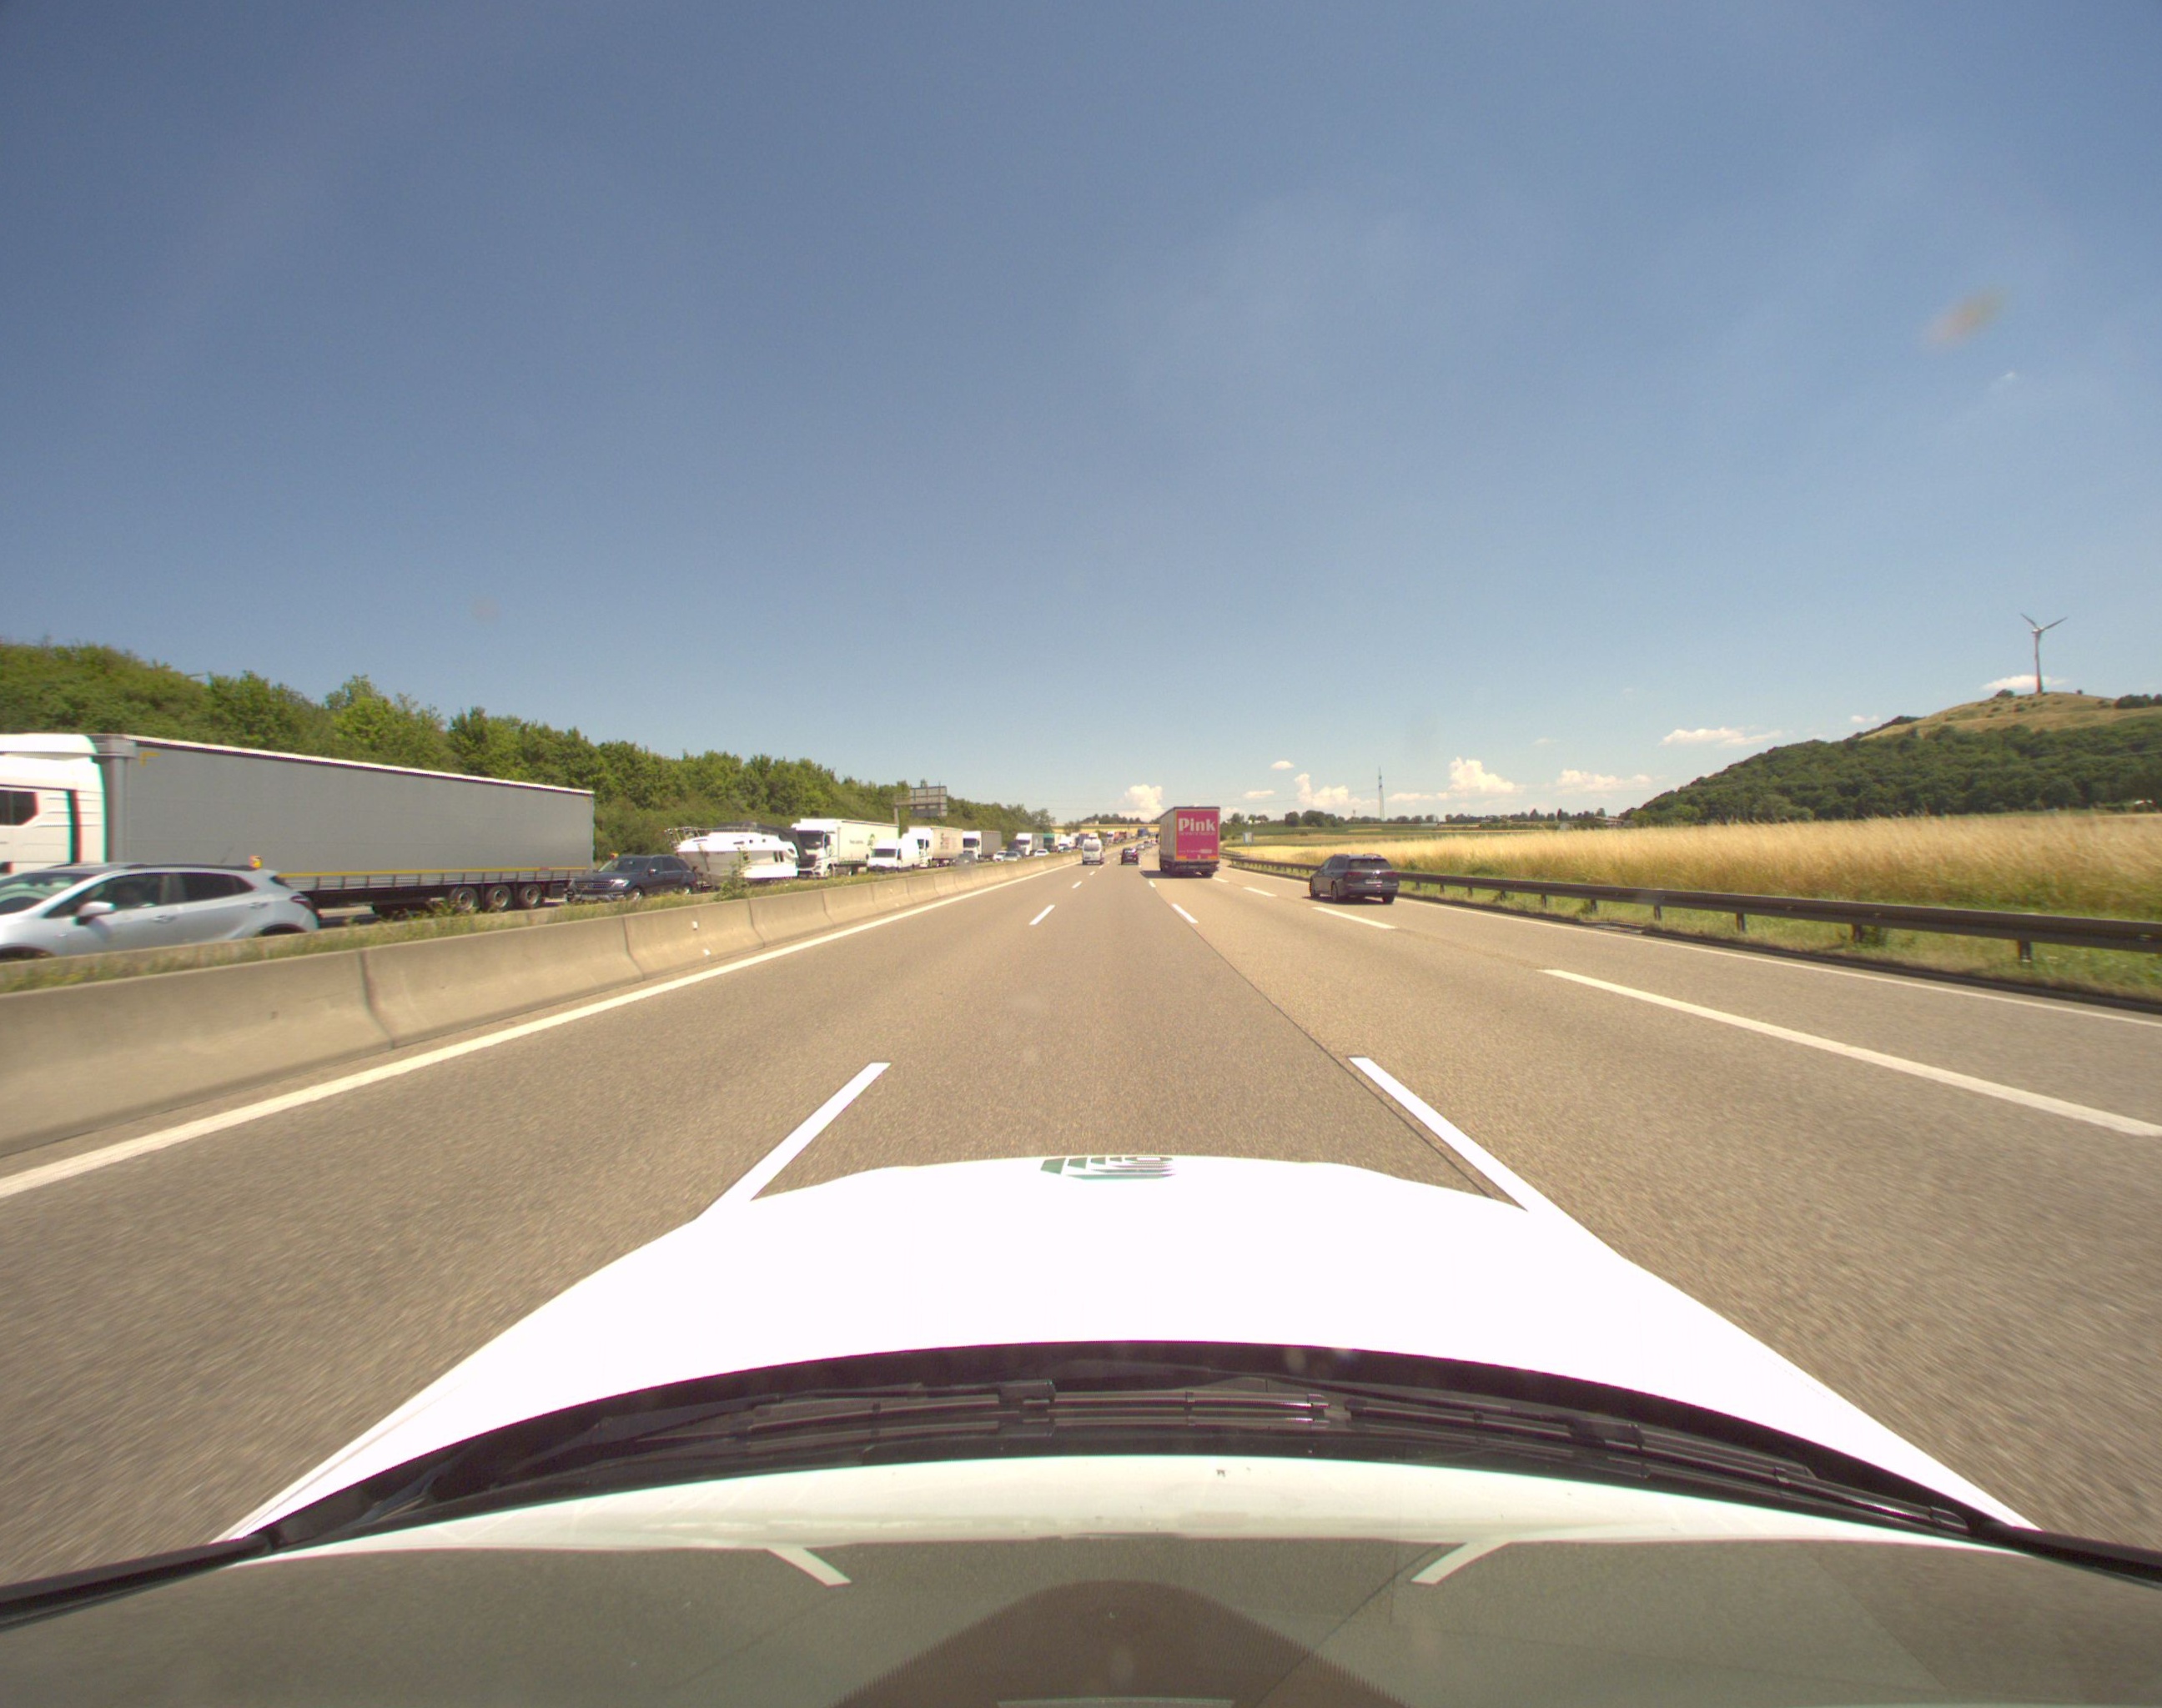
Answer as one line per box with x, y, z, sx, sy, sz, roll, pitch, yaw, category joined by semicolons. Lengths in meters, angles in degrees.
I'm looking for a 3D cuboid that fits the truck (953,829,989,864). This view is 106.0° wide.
-13.784;-0.970;102.605;2.947;4.209;6.614;0;0;5;truck

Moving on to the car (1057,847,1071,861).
-3.509;0.017;168.490;2.129;2.786;6.634;0;-1;5;car

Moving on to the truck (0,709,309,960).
-19.275;-0.304;15.423;3.187;4.132;6.186;-1;0;2;truck

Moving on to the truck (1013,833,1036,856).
-10.008;-1.695;145.045;2.839;4.036;6.615;-1;1;5;truck

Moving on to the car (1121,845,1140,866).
4.950;0.109;82.207;1.840;1.860;4.210;-1;3;3;car

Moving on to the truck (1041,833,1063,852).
-6.308;-2.645;178.854;2.828;3.898;11.270;-2;1;7;truck

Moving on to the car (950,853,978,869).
-11.786;0.688;82.211;1.868;1.434;4.929;0;0;3;car

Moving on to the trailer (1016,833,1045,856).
-9.302;-1.846;151.954;2.887;4.086;14.472;-1;1;6;trailer

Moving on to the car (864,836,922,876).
-13.010;0.122;56.997;1.889;2.574;7.579;-1;0;3;car

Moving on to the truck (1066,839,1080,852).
-2.105;-2.179;205.394;2.525;3.207;7.604;-1;1;7;truck

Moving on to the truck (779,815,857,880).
-17.232;-0.440;53.820;2.836;4.006;5.980;-1;0;3;truck

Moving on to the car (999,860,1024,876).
-7.266;1.407;85.093;1.985;1.578;4.599;-1;0;3;car

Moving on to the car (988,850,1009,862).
-10.084;0.276;100.227;1.873;1.474;4.410;-1;0;3;car

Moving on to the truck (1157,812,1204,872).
7.094;-0.873;58.681;2.904;4.008;6.516;0;1;3;truck

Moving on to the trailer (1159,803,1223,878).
6.706;-0.839;51.680;2.906;4.117;13.871;0;1;3;trailer

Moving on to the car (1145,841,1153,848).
17.196;-2.390;207.164;1.984;1.904;4.005;-1;0;5;car

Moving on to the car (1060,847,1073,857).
-2.484;-0.423;141.981;1.923;1.688;4.802;-1;1;4;car

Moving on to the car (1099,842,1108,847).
6.766;-2.754;244.792;1.949;1.460;4.257;0;-1;8;car

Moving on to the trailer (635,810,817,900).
-14.290;0.087;34.153;2.860;3.183;10.729;0;0;0;trailer

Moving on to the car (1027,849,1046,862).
-5.916;0.186;108.540;1.985;1.643;4.410;-1;0;3;car

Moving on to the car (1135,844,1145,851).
13.231;-1.457;182.126;1.986;1.585;4.003;-1;1;2;car

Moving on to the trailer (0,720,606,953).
-19.090;-0.351;22.598;3.209;4.421;13.787;-1;0;2;trailer

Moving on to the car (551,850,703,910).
-14.443;0.767;26.313;2.100;1.723;4.931;-1;0;0;car

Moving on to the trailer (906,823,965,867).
-15.066;-0.958;85.766;2.798;4.278;13.884;0;1;4;trailer

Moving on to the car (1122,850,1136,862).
7.123;0.318;120.774;1.985;1.750;4.004;0;-1;4;car

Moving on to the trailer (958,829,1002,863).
-13.309;-1.069;109.064;2.968;4.206;14.211;0;0;5;trailer

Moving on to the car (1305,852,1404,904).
8.328;0.698;25.234;1.754;1.471;4.539;0;0;3;car

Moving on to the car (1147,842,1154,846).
20.731;-2.974;241.511;1.985;1.310;4.005;-1;2;4;car

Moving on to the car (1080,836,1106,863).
1.245;-0.436;82.622;2.169;2.625;4.680;0;-1;6;car

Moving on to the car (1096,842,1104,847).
5.994;-2.934;256.405;1.949;1.460;4.257;0;-1;8;car

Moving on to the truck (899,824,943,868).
-15.459;-0.785;79.145;2.743;4.042;6.104;0;1;3;truck

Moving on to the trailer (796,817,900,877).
-16.852;-0.494;60.469;2.890;3.873;13.890;-1;0;4;trailer

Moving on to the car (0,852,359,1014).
-11.973;0.836;10.069;1.832;1.677;4.449;-1;0;6;car
